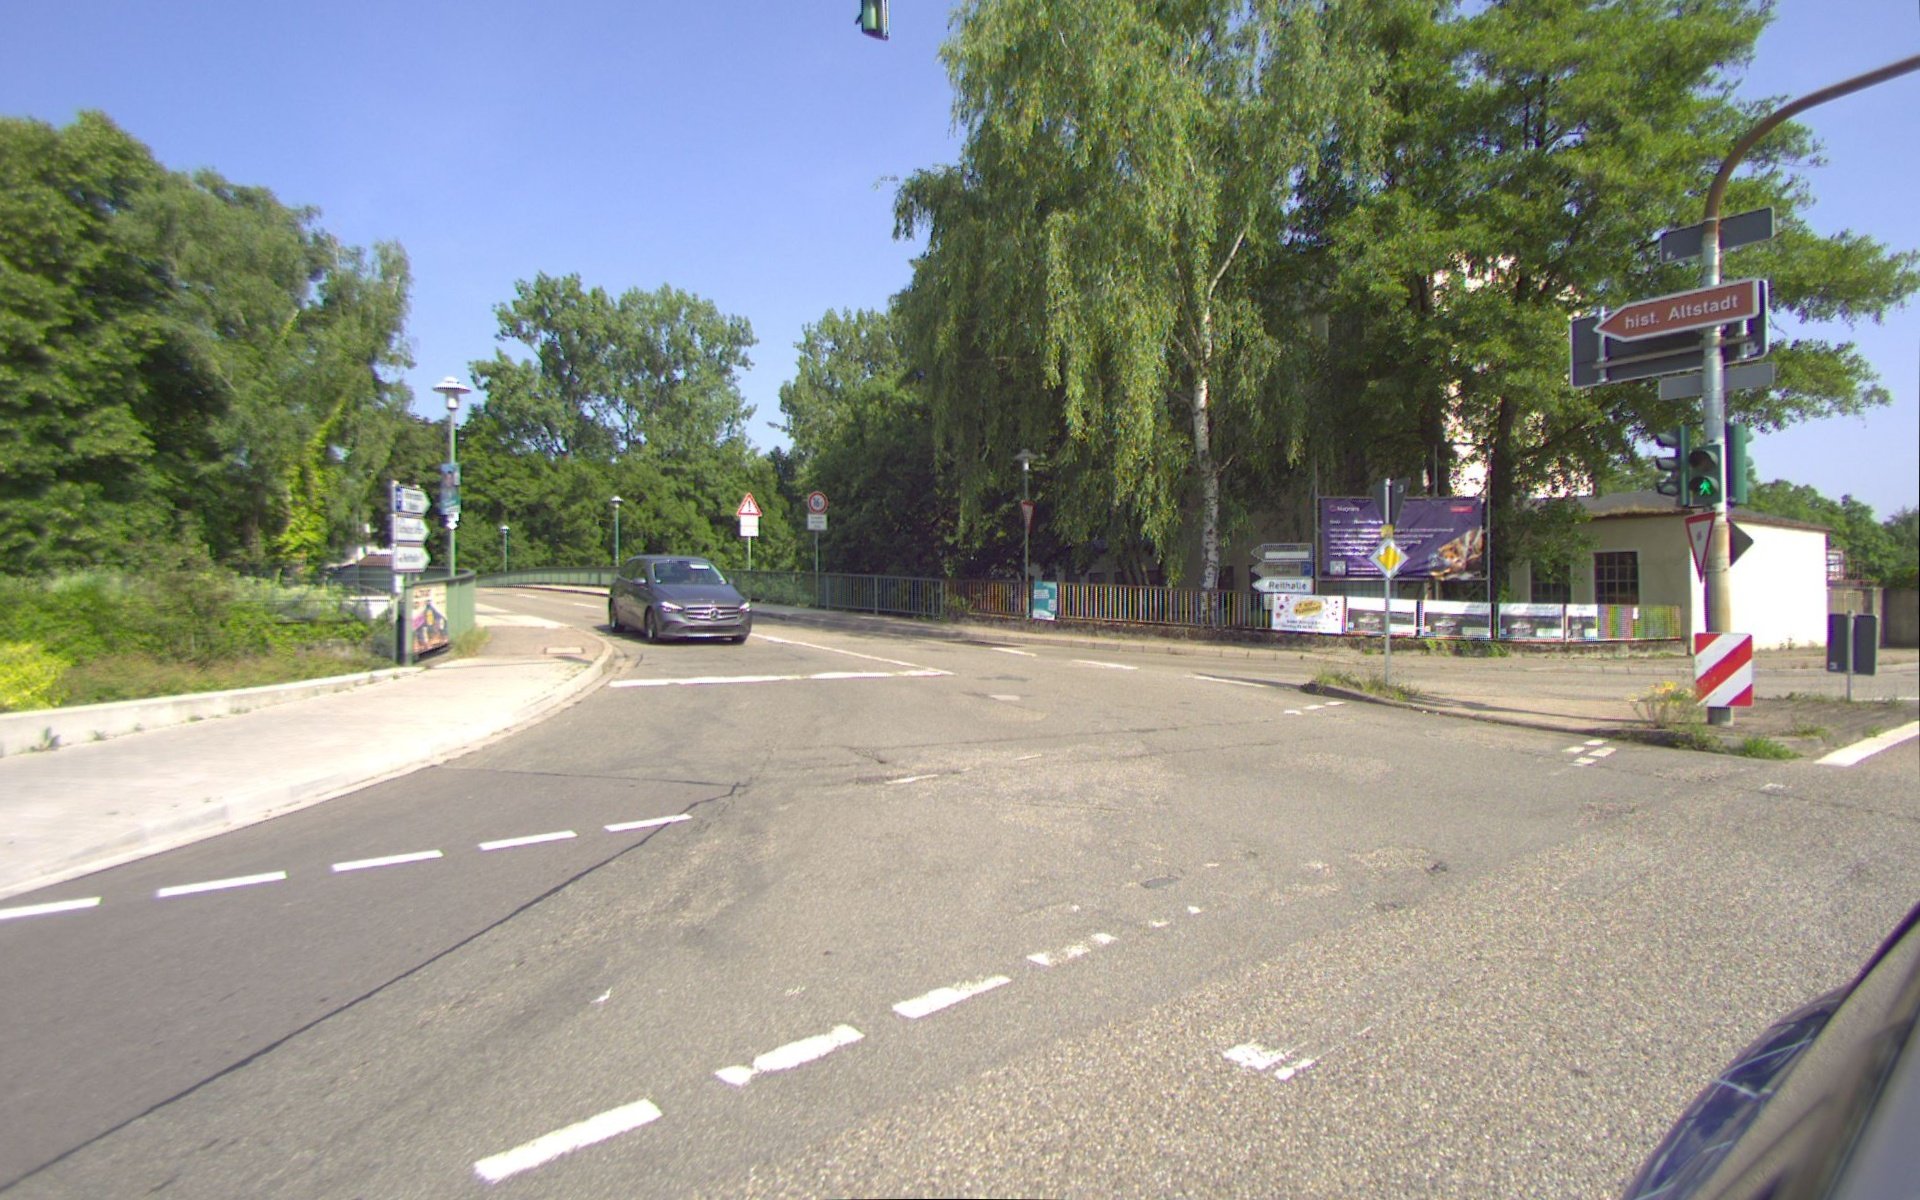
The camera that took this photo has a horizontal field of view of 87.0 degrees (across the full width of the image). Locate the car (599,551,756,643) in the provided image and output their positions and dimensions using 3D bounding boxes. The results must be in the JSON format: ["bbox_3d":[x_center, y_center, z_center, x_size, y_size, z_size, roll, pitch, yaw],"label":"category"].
[{"bbox_3d":[-5.385,-0.138,18.948,1.635,1.537,4.086,-1,2,-34],"label":"car"}]
